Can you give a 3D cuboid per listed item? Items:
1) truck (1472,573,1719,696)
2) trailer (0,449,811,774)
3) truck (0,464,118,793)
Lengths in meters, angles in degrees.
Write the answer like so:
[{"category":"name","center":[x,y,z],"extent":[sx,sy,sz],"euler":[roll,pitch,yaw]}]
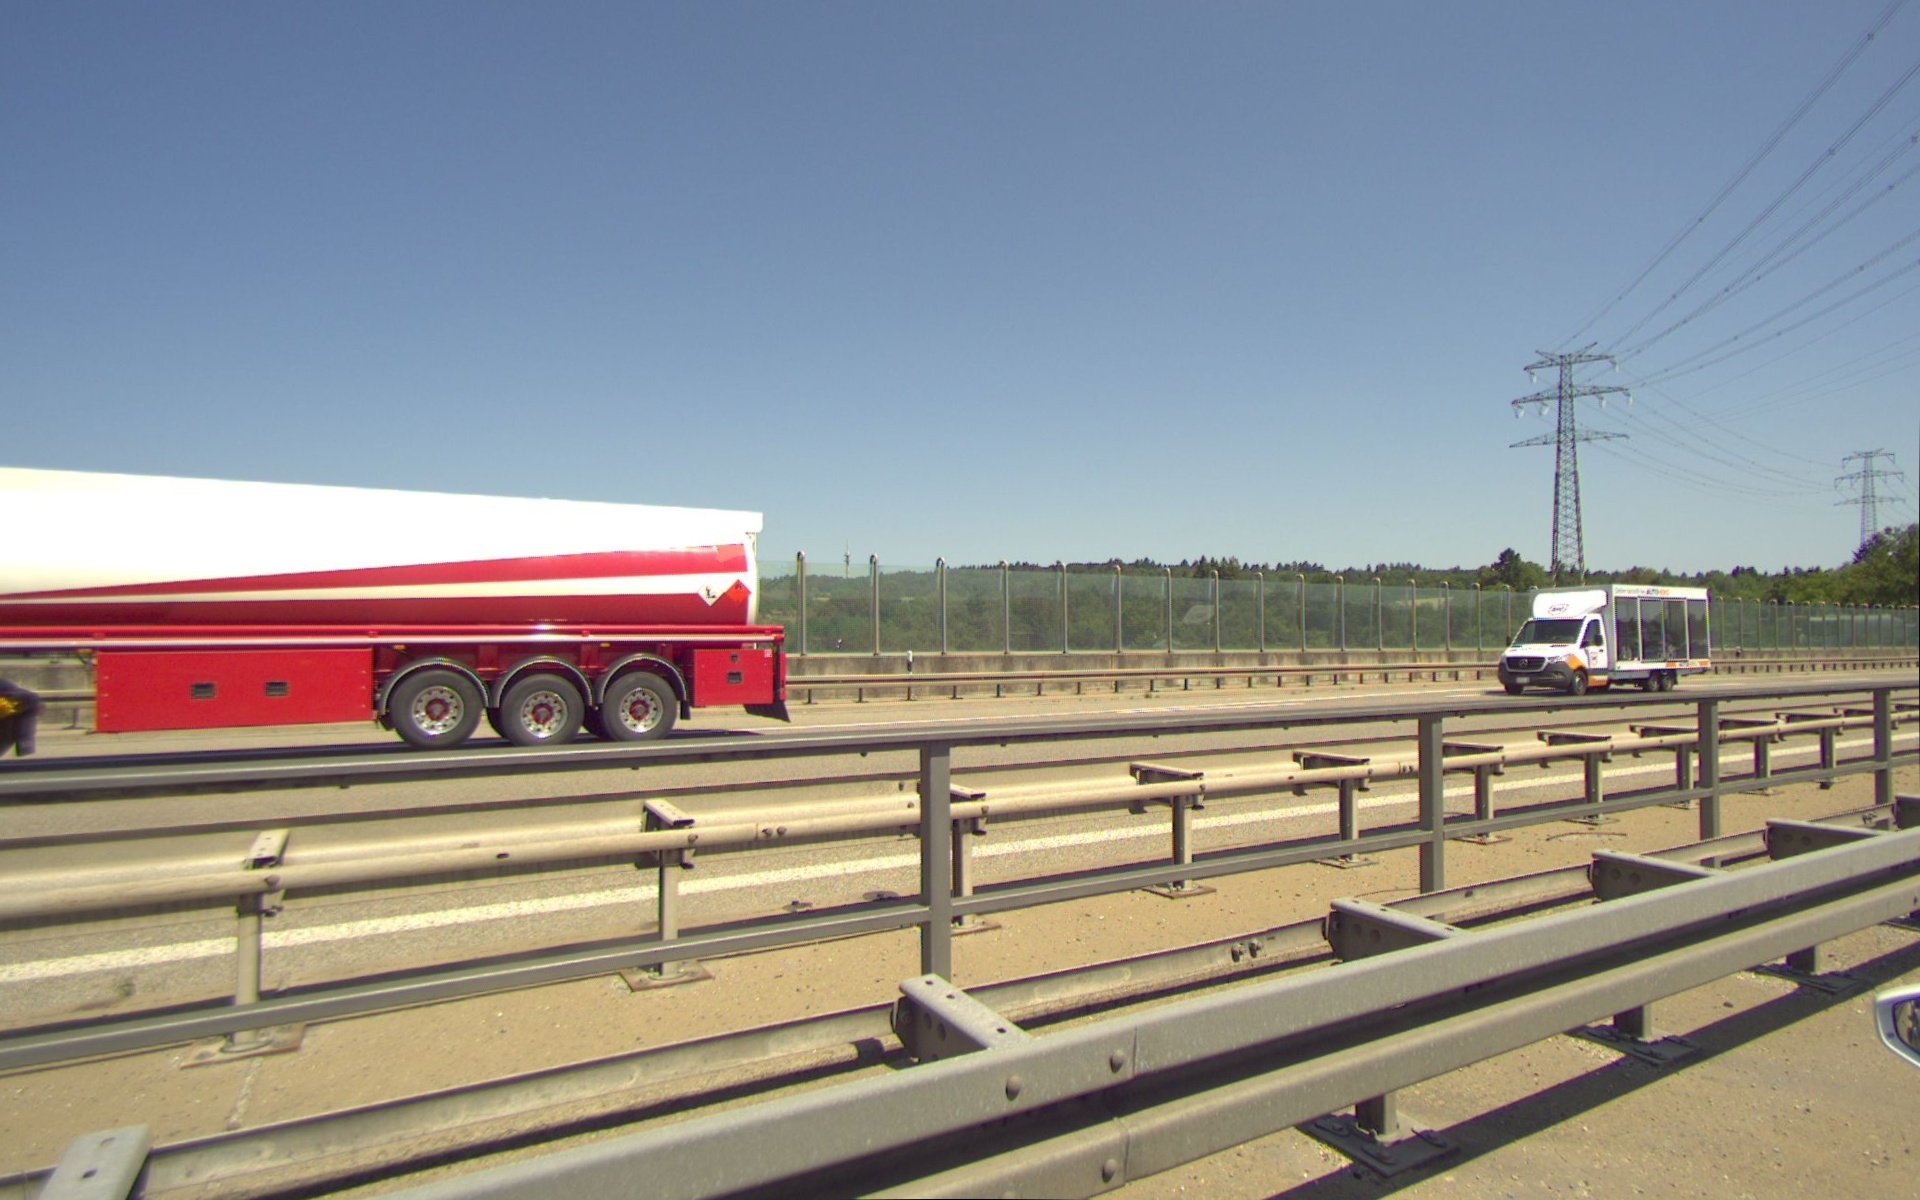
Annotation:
[{"category":"truck","center":[18.754,1.094,29.490],"extent":[8.196,3.229,2.552],"euler":[2,-4,-30]},{"category":"trailer","center":[-8.084,0.282,13.374],"extent":[11.861,3.422,2.865],"euler":[2,-4,-29]},{"category":"truck","center":[-13.236,0.271,10.481],"extent":[6.218,3.459,2.897],"euler":[2,-3,-29]}]
